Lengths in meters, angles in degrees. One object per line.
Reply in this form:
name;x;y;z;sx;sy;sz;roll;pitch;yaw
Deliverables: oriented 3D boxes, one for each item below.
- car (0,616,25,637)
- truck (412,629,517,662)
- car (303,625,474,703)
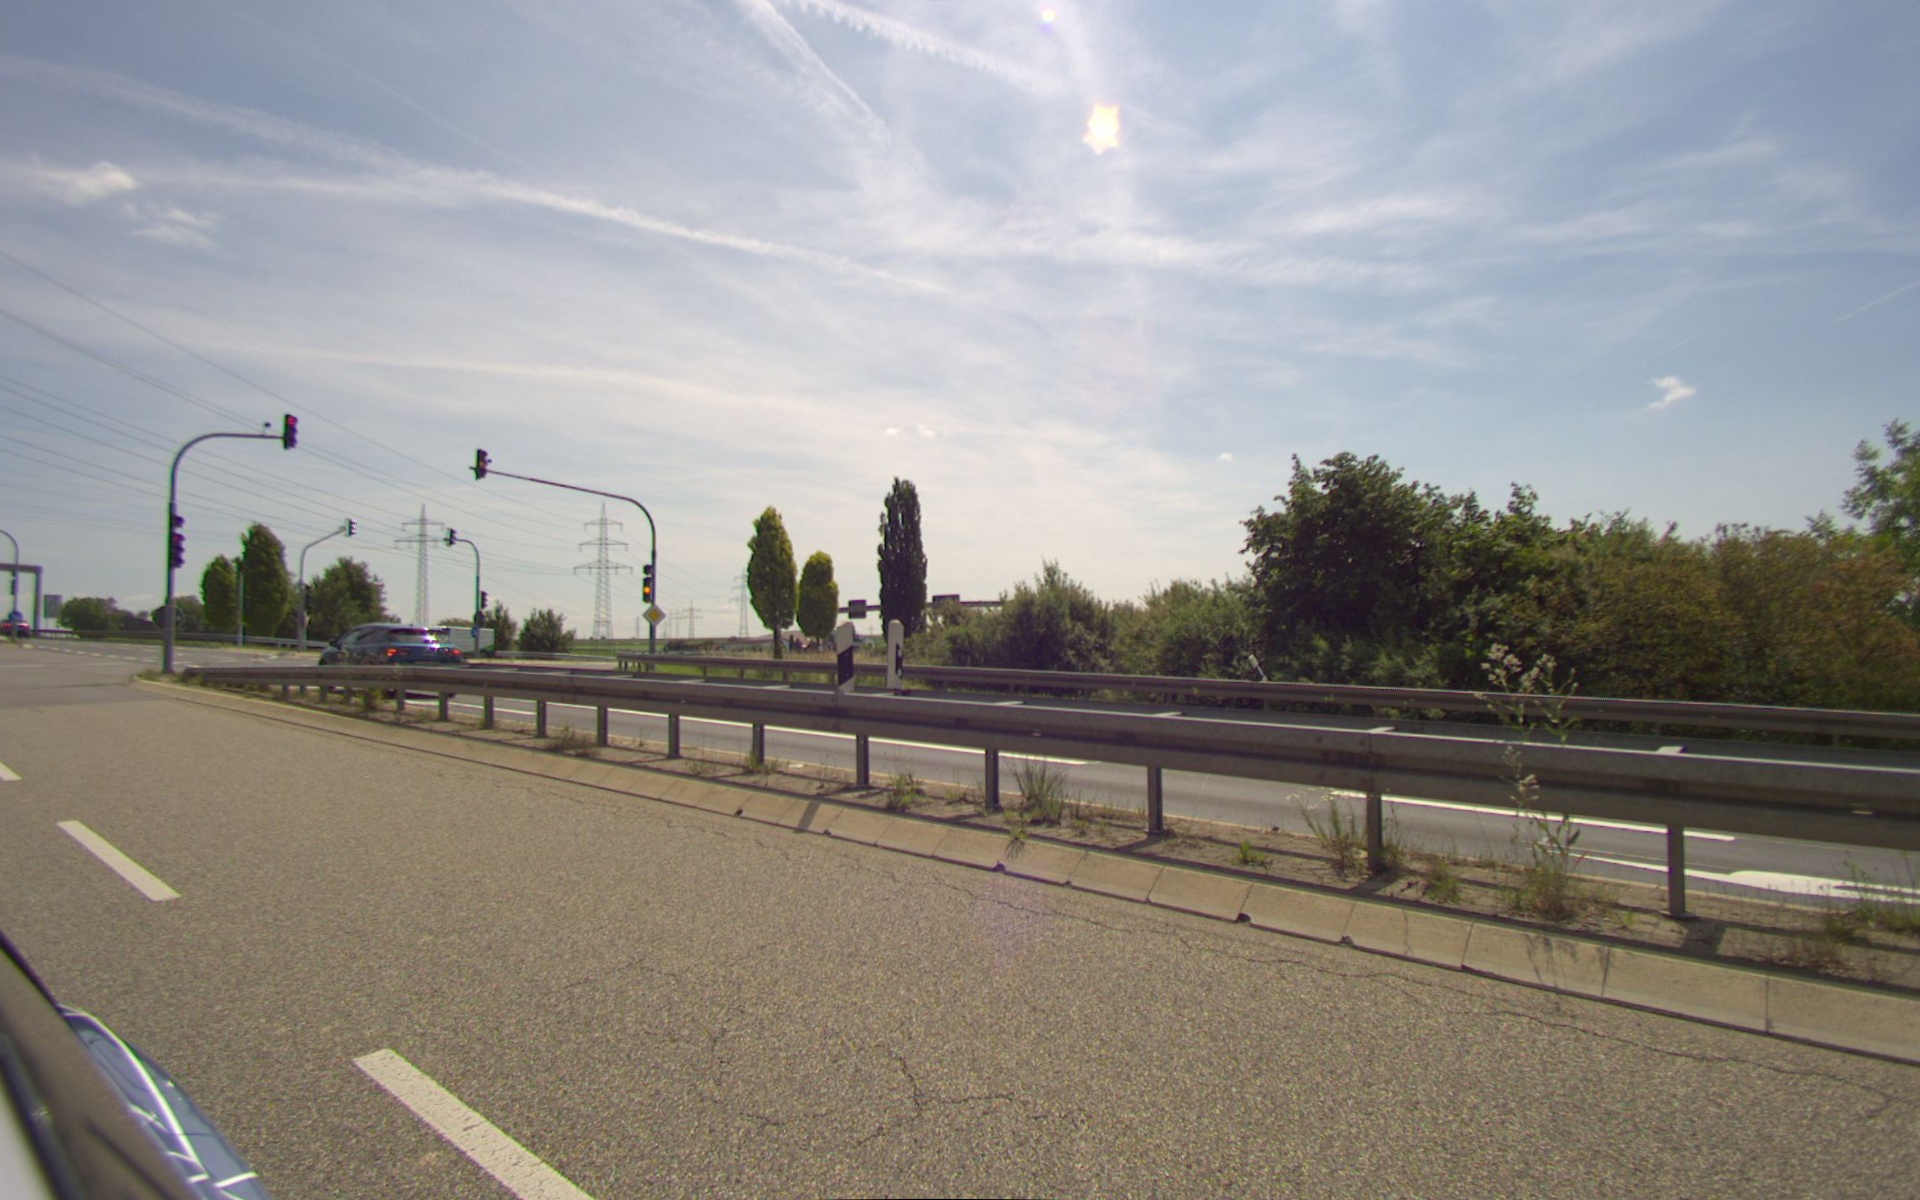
car;-78.462;2.148;83.198;4.323;1.636;1.628;0;-4;39
truck;-28.830;2.693;59.036;1.992;1.770;5.227;0;-4;30
car;-12.052;1.272;21.245;4.192;1.480;1.737;-1;-2;39
